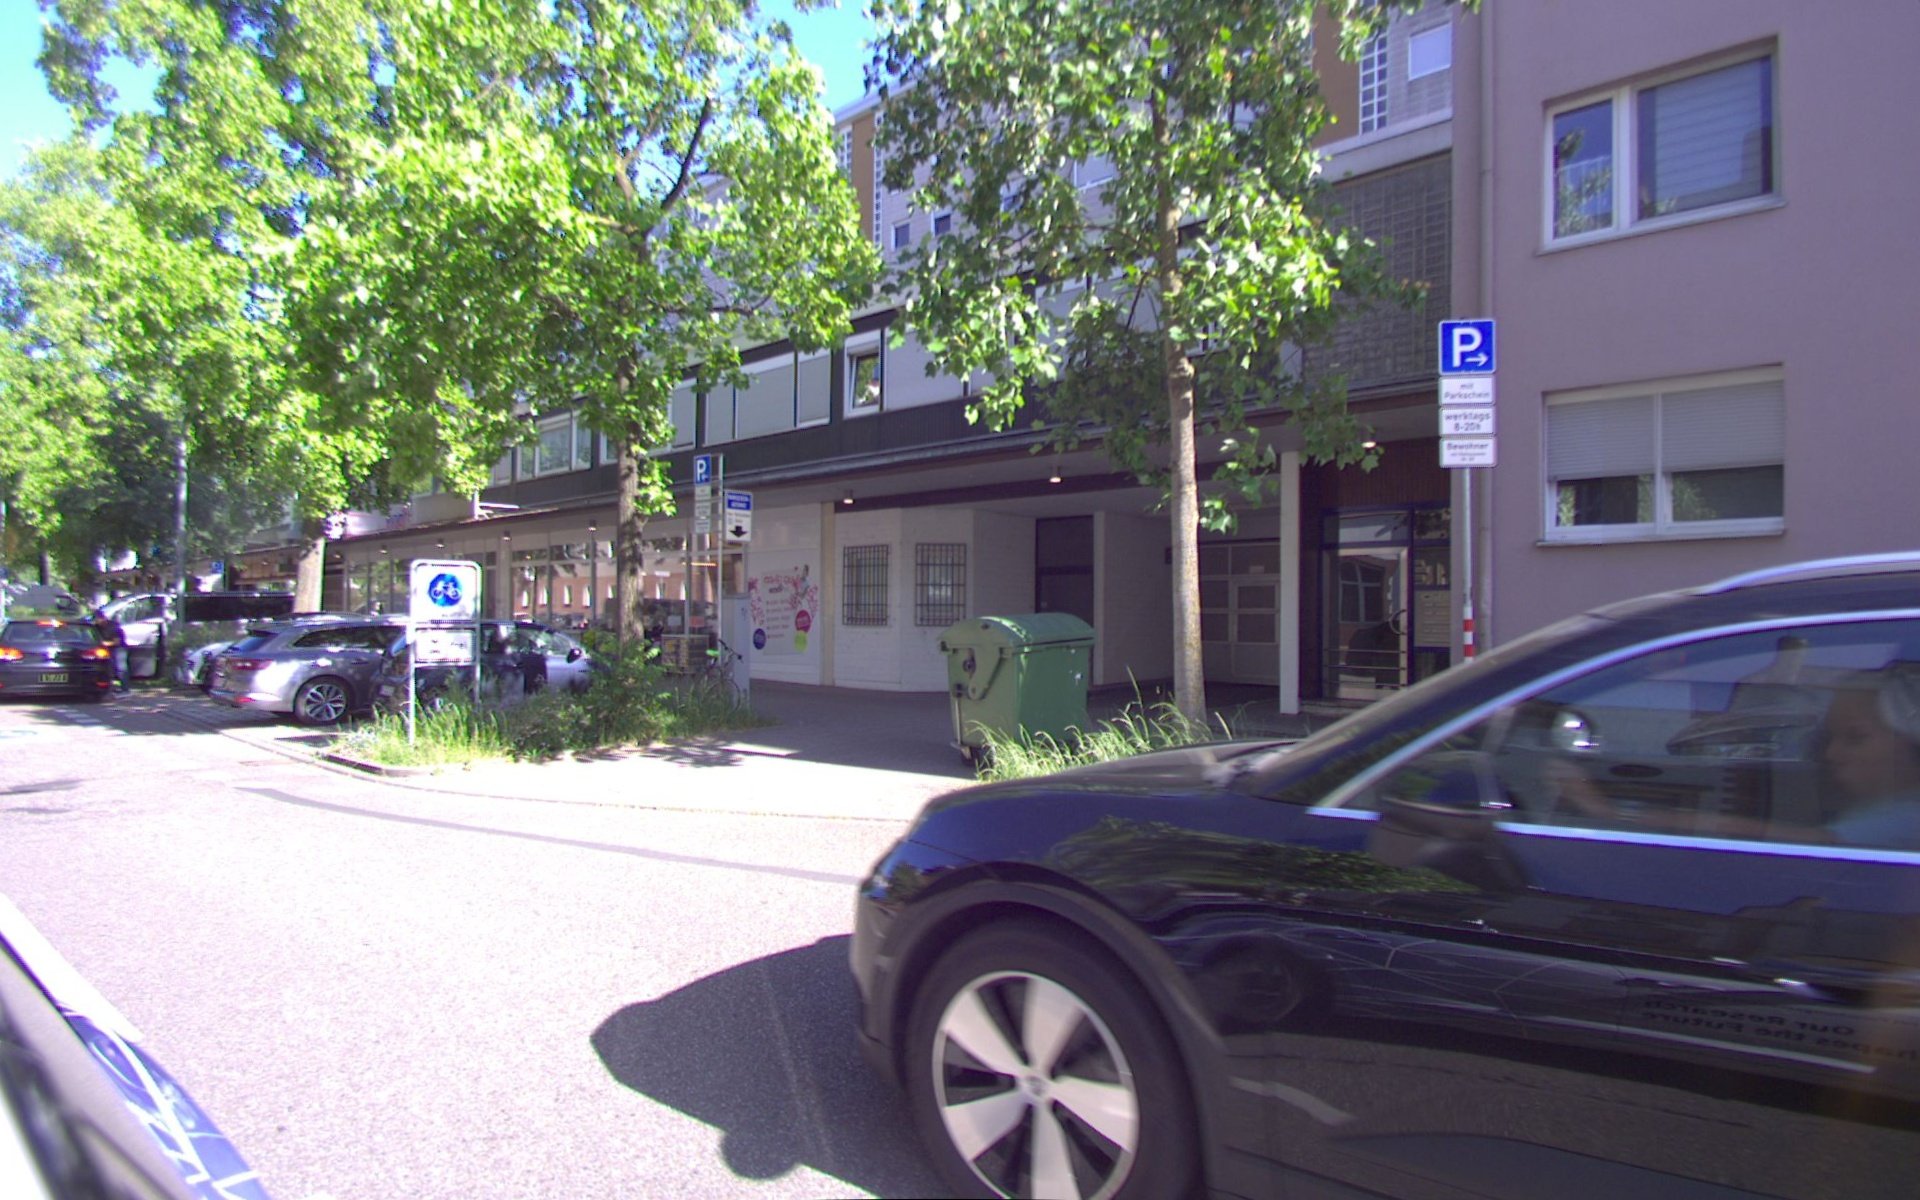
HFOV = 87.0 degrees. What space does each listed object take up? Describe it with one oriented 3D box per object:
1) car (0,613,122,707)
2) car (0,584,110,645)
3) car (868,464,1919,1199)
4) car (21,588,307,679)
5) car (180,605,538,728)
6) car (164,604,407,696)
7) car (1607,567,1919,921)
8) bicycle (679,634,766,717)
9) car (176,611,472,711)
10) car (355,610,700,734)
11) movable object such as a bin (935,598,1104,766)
[{"bbox_3d":[-16.062,0.964,17.553,3.959,1.449,1.744,0,-2,42],"label":"car"},{"bbox_3d":[-39.960,0.599,42.404,1.985,2.492,6.559,-1,0,20],"label":"car"},{"bbox_3d":[2.079,0.626,2.069,4.418,1.626,1.850,-1,-1,36],"label":"car"},{"bbox_3d":[-19.294,0.723,24.757,2.014,1.989,5.237,-1,0,41],"label":"car"},{"bbox_3d":[-8.759,0.859,15.033,1.762,1.471,4.258,-1,1,43],"label":"car"},{"bbox_3d":[-12.919,0.881,19.579,1.679,1.564,3.570,0,0,32],"label":"car"},{"bbox_3d":[5.711,0.633,4.654,4.364,1.618,1.857,-1,1,42],"label":"car"},{"bbox_3d":[-3.323,1.027,14.110,1.342,1.086,0.461,-1,-1,39],"label":"bicycle"},{"bbox_3d":[-10.828,0.948,17.470,1.809,1.474,3.951,-1,0,36],"label":"car"},{"bbox_3d":[-6.001,0.898,14.463,1.643,1.444,4.260,-1,0,41],"label":"car"},{"bbox_3d":[0.568,0.724,9.644,1.215,1.461,1.077,1,-1,-41],"label":"movable object such as a bin"}]
